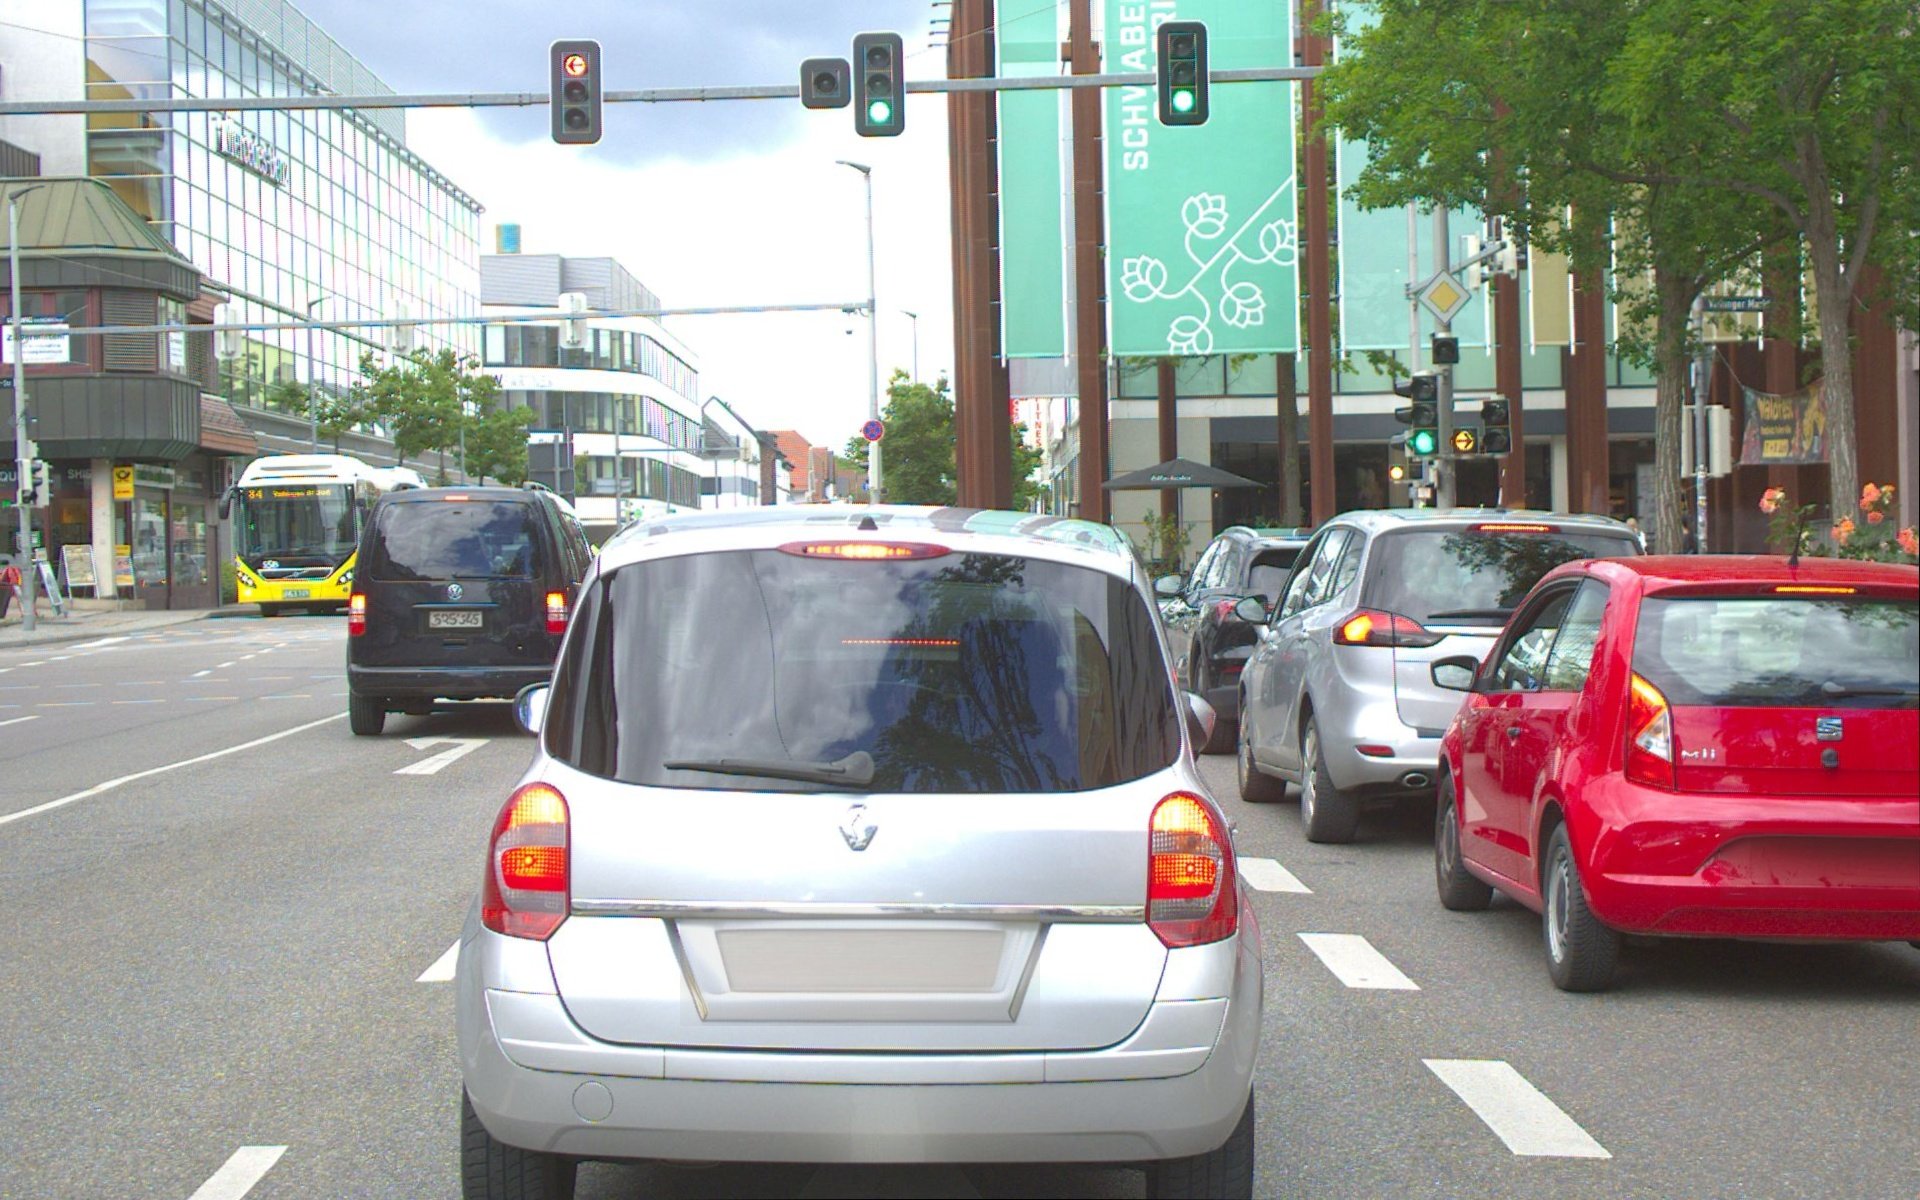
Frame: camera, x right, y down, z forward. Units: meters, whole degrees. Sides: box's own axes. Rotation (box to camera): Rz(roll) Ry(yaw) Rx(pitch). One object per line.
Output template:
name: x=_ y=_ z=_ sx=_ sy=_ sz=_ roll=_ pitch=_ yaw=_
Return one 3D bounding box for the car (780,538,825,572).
car: x=-7.220 y=-2.072 z=157.473 sx=1.801 sy=1.535 sz=4.065 roll=0 pitch=1 yaw=1

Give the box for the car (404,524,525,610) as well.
car: x=-10.112 y=-0.699 z=70.433 sx=1.993 sy=1.700 sz=4.065 roll=-1 pitch=1 yaw=-2

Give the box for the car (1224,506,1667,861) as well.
car: x=2.414 y=0.353 z=17.987 sx=1.586 sy=1.628 sz=3.917 roll=1 pitch=1 yaw=-2

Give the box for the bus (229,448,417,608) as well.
bus: x=-13.666 y=-1.559 z=74.371 sx=2.686 sy=3.250 sz=8.654 roll=-1 pitch=1 yaw=-2

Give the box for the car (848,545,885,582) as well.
car: x=-5.174 y=-2.035 z=189.911 sx=1.993 sy=1.942 sz=4.951 roll=-1 pitch=1 yaw=-2

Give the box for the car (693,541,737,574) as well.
car: x=-11.952 y=-2.078 z=167.821 sx=1.801 sy=1.535 sz=4.065 roll=0 pitch=1 yaw=1

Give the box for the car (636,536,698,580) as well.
car: x=-10.506 y=-1.534 z=123.471 sx=1.801 sy=1.535 sz=4.065 roll=0 pitch=1 yaw=1

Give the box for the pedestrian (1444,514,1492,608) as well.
pedestrian: x=8.927 y=-0.689 z=60.398 sx=0.651 sy=1.645 sz=0.559 roll=-1 pitch=1 yaw=-15

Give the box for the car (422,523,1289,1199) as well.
car: x=-0.226 y=0.585 z=8.239 sx=1.640 sy=1.522 sz=3.394 roll=0 pitch=1 yaw=-1

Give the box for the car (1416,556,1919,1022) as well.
car: x=2.716 y=0.582 z=12.572 sx=1.586 sy=1.438 sz=3.348 roll=1 pitch=1 yaw=-1

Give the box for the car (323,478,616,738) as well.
car: x=-3.748 y=0.014 z=26.956 sx=1.744 sy=1.849 sz=4.634 roll=1 pitch=1 yaw=-2

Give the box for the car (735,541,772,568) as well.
car: x=-11.856 y=-2.623 z=197.708 sx=1.801 sy=1.535 sz=4.065 roll=0 pitch=1 yaw=1

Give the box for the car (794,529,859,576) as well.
car: x=-4.800 y=-1.732 z=124.086 sx=1.917 sy=1.671 sz=4.242 roll=0 pitch=1 yaw=4

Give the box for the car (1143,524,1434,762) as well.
car: x=2.333 y=0.256 z=25.242 sx=1.586 sy=1.589 sz=3.868 roll=1 pitch=1 yaw=-2
